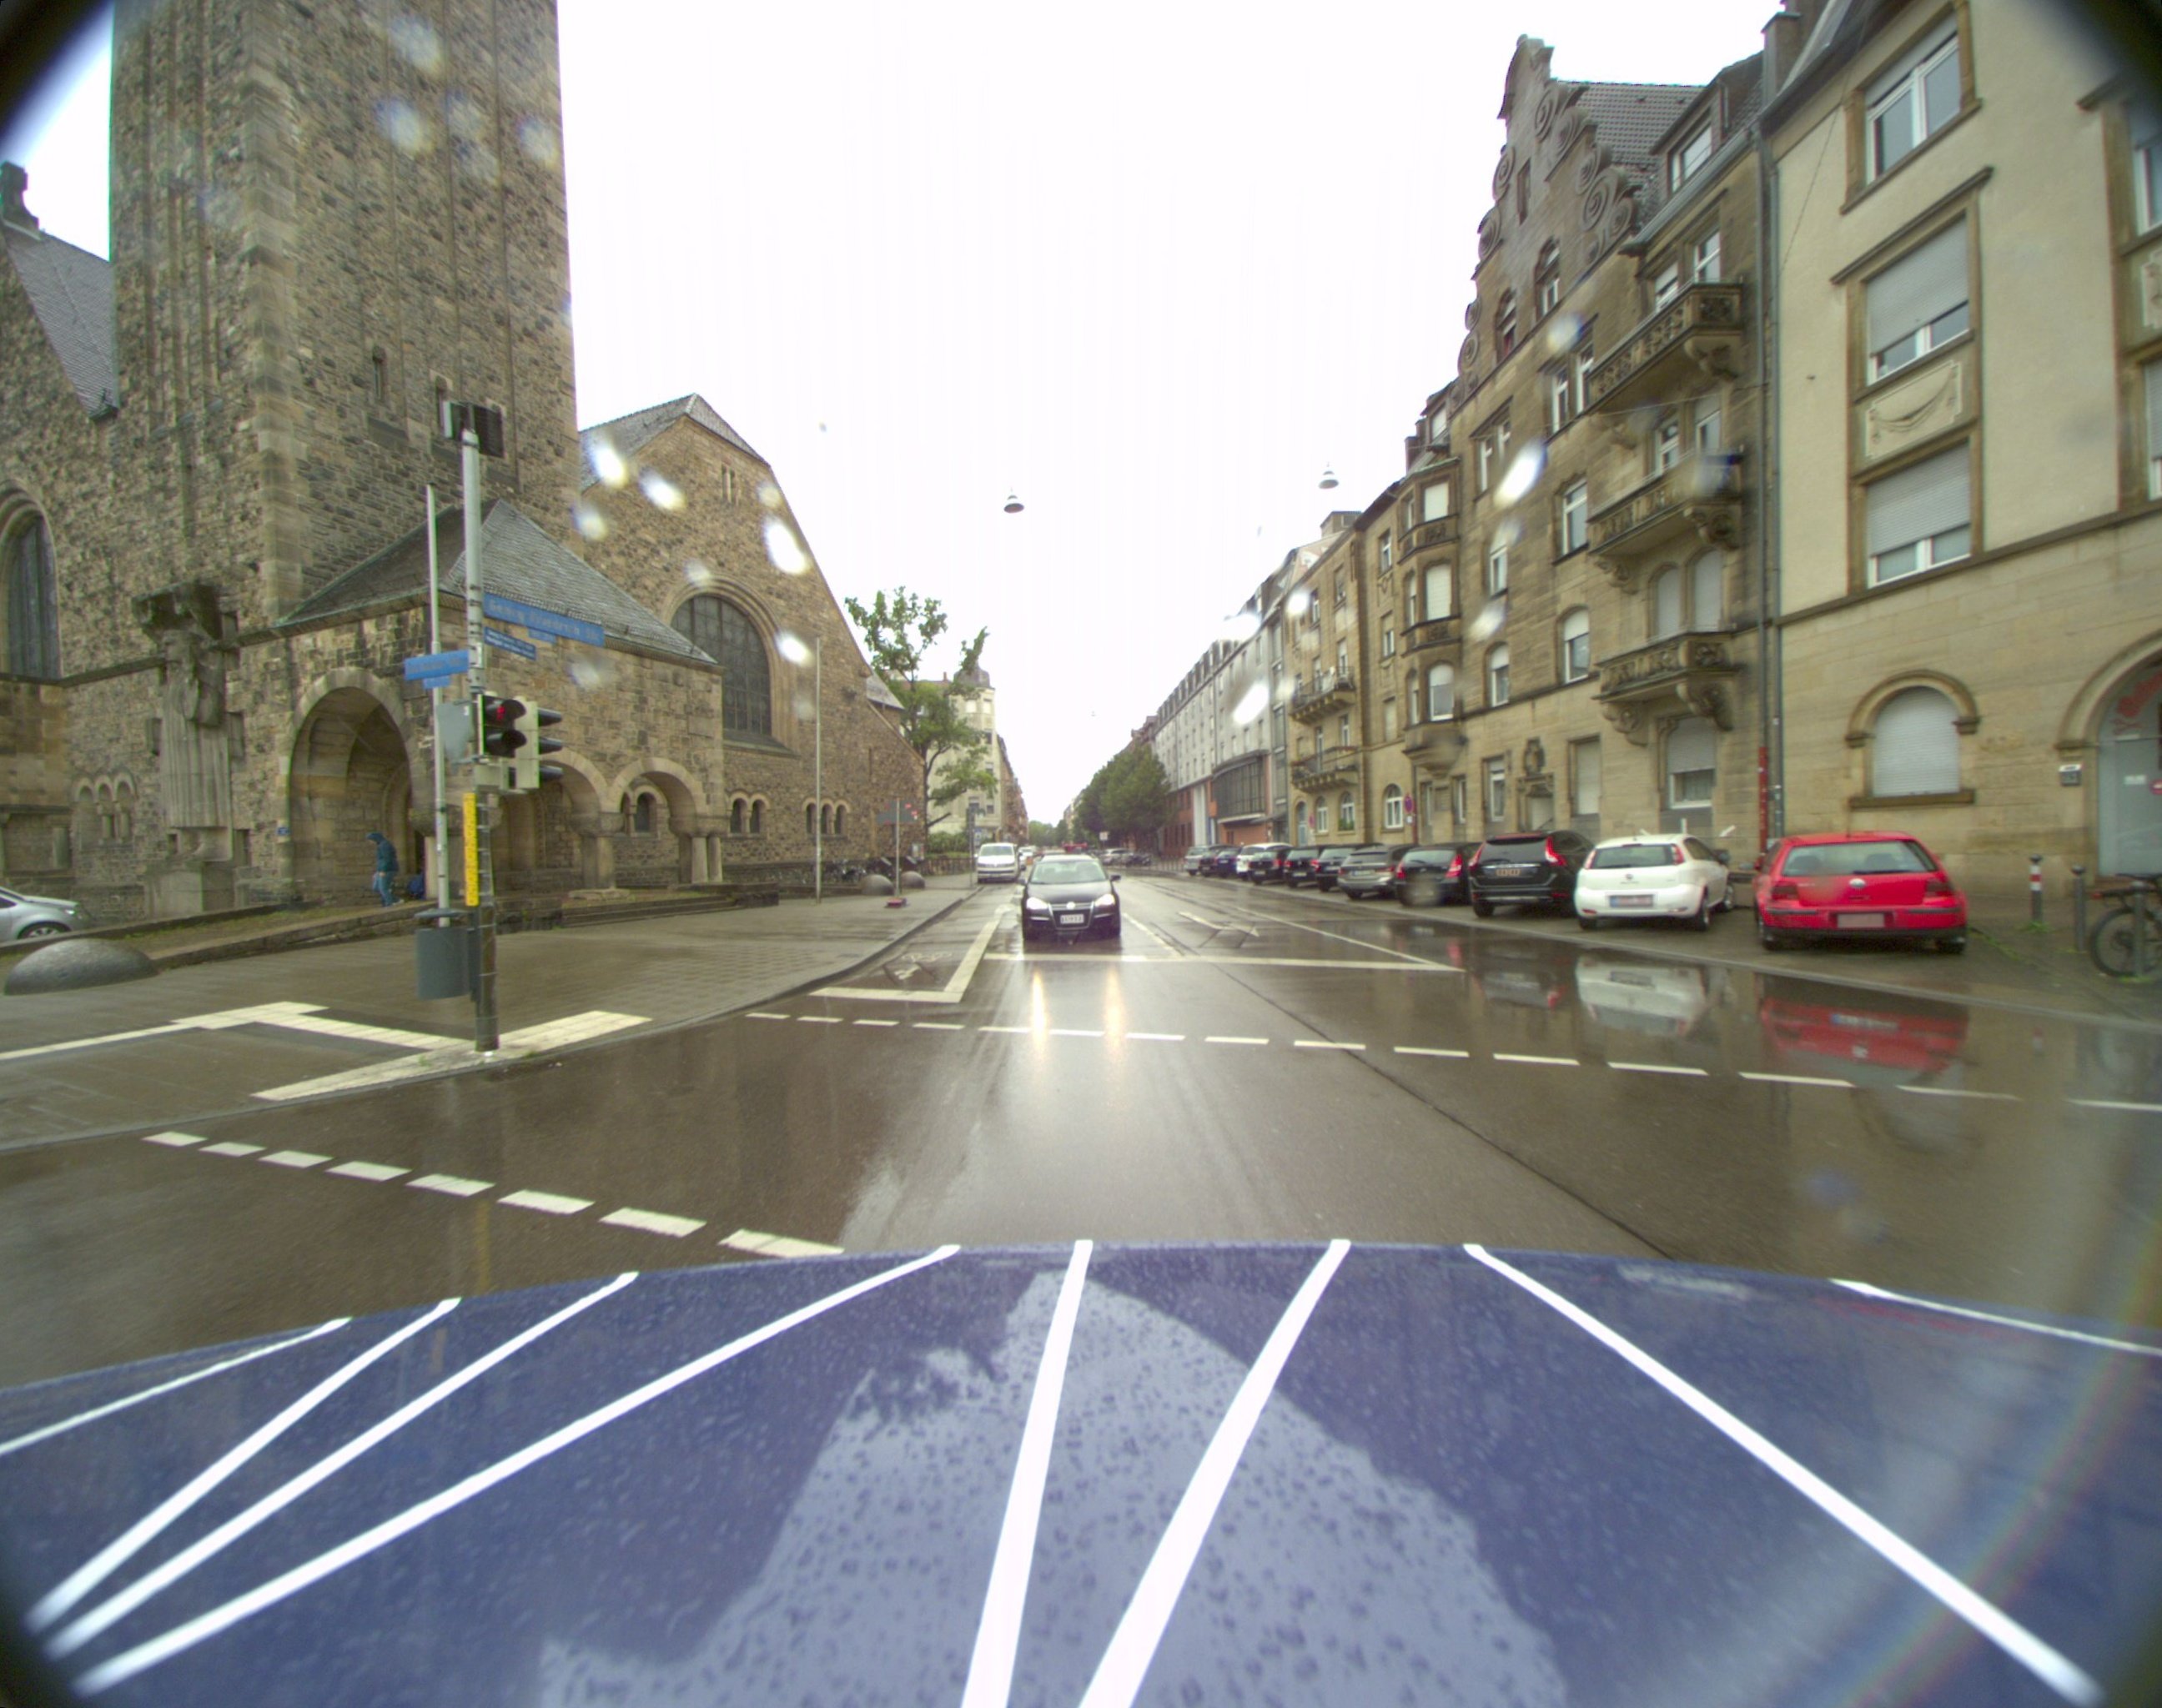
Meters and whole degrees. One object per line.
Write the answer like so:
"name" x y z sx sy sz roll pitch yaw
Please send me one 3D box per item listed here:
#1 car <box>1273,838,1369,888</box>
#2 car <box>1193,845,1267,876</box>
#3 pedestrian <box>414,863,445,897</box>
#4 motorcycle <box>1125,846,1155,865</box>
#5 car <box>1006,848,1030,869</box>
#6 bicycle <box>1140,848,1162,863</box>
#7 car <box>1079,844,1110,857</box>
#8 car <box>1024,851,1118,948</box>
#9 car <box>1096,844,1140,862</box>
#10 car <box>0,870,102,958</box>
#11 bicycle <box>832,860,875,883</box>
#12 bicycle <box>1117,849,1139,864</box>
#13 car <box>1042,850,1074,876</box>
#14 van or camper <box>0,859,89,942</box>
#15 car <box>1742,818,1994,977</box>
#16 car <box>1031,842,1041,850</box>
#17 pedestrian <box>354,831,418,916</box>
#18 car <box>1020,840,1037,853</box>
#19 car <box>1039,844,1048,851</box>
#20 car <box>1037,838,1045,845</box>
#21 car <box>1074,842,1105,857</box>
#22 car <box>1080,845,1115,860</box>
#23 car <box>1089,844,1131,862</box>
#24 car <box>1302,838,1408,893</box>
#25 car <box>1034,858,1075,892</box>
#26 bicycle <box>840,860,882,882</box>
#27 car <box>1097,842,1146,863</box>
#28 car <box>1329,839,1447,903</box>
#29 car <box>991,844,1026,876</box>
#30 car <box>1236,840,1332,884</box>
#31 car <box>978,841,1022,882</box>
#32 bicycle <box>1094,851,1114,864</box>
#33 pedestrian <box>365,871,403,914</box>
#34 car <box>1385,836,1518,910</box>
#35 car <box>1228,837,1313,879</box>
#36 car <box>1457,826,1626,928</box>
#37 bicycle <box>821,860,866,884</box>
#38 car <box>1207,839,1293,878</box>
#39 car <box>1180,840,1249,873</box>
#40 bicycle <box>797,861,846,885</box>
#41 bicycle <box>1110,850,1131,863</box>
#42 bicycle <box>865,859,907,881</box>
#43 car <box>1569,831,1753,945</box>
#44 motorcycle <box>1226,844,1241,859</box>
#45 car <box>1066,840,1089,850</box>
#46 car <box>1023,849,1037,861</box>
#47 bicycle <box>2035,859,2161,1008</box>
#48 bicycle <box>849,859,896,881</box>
"car" 8.838 0.312 27.819 3.765 1.535 1.624 -4 1 -42
"car" 7.771 0.310 39.481 3.734 1.519 1.713 -2 1 -38
"pedestrian" -16.989 0.678 19.812 0.396 0.879 0.457 -1 1 20
"motorcycle" 4.612 0.109 59.413 2.256 1.302 0.758 -3 1 -3
"car" -4.835 0.308 58.878 1.675 1.541 3.917 -1 1 -2
"bicycle" 5.656 0.109 61.389 1.688 1.067 0.544 -4 2 -6
"car" 1.819 -0.466 102.035 3.803 1.705 1.904 -1 1 -13
"car" -0.249 0.754 14.716 1.548 1.553 4.069 -1 1 -2
"car" 3.591 -0.091 74.187 3.803 1.705 1.997 -1 1 -13
"car" -21.792 1.267 14.503 1.732 1.566 3.361 -1 4 24
"bicycle" -10.654 0.812 35.520 1.924 1.054 0.582 -1 1 19
"bicycle" 3.803 0.210 61.306 1.688 1.067 0.544 -4 2 -6
"car" -1.343 0.498 44.333 1.766 1.430 3.746 -1 1 -2
"van or camper" -24.726 1.138 16.179 1.645 1.719 3.933 -1 5 21
"car" 10.072 0.448 10.053 1.799 1.499 4.006 -5 1 40
"car" -9.946 -1.753 168.579 1.998 1.705 3.802 -1 1 1
"pedestrian" -14.224 0.394 15.558 0.633 1.693 0.679 -1 1 18
"car" -6.295 -0.919 90.952 1.922 1.471 4.219 -1 1 -3
"car" -9.355 -1.658 190.080 1.998 1.705 4.374 -1 1 1
"car" -11.193 -3.526 213.016 1.838 1.827 4.000 -1 1 1
"car" 1.257 -0.657 110.447 4.006 2.002 1.995 -1 1 -31
"car" 1.911 -0.236 90.086 3.803 1.705 1.997 -1 1 -13
"car" 2.921 -0.092 77.232 3.803 1.705 1.997 -1 1 -13
"car" 9.028 0.362 24.949 3.449 1.535 1.624 -4 1 -38
"car" -1.108 0.802 31.068 1.548 1.214 3.606 -1 1 -2
"bicycle" -10.461 0.809 36.171 1.924 1.054 0.582 -1 1 19
"car" 3.693 -0.131 69.470 4.006 1.804 1.995 -1 1 -29
"car" 8.724 0.452 21.491 3.435 1.535 1.696 -4 1 -42
"car" -4.293 0.318 45.399 1.837 1.835 4.294 -1 1 -2
"car" 8.261 0.309 30.788 3.733 1.535 1.774 -4 1 -37
"car" -4.076 0.313 38.928 1.909 1.911 5.270 -1 1 -2
"bicycle" 2.007 0.302 65.934 1.688 1.067 0.544 1 1 -6
"pedestrian" -14.791 0.812 16.129 0.455 0.879 0.397 -1 1 18
"car" 9.130 0.433 18.621 3.316 1.516 1.696 -4 1 -41
"car" 8.536 0.176 34.062 3.733 1.617 1.774 -4 1 -40
"car" 9.456 0.394 15.460 4.092 1.682 1.759 -4 1 -42
"bicycle" -10.886 0.815 34.861 1.924 1.054 0.582 -1 1 16
"car" 8.216 0.179 36.863 3.732 1.519 1.897 -6 3 -33
"car" 7.533 0.130 42.550 3.931 1.720 1.811 -2 1 -44
"bicycle" -11.490 0.840 33.640 2.005 1.043 0.577 -1 1 15
"bicycle" 3.381 0.199 65.052 1.688 1.067 0.544 -2 1 -6
"bicycle" -9.680 0.779 37.666 1.978 1.060 0.607 -1 1 20
"car" 9.914 0.482 12.876 4.001 1.525 1.700 -4 1 -42
"motorcycle" 11.332 -0.176 56.516 0.599 1.095 2.361 -1 1 -2
"car" -0.623 -1.604 138.127 3.809 1.705 1.995 -2 1 -36
"car" -5.618 0.127 83.940 1.356 1.285 3.012 -1 1 -2
"bicycle" 9.936 0.657 6.823 1.814 1.178 0.600 -6 1 3
"bicycle" -10.146 0.773 36.924 2.151 1.054 0.679 -1 1 19
